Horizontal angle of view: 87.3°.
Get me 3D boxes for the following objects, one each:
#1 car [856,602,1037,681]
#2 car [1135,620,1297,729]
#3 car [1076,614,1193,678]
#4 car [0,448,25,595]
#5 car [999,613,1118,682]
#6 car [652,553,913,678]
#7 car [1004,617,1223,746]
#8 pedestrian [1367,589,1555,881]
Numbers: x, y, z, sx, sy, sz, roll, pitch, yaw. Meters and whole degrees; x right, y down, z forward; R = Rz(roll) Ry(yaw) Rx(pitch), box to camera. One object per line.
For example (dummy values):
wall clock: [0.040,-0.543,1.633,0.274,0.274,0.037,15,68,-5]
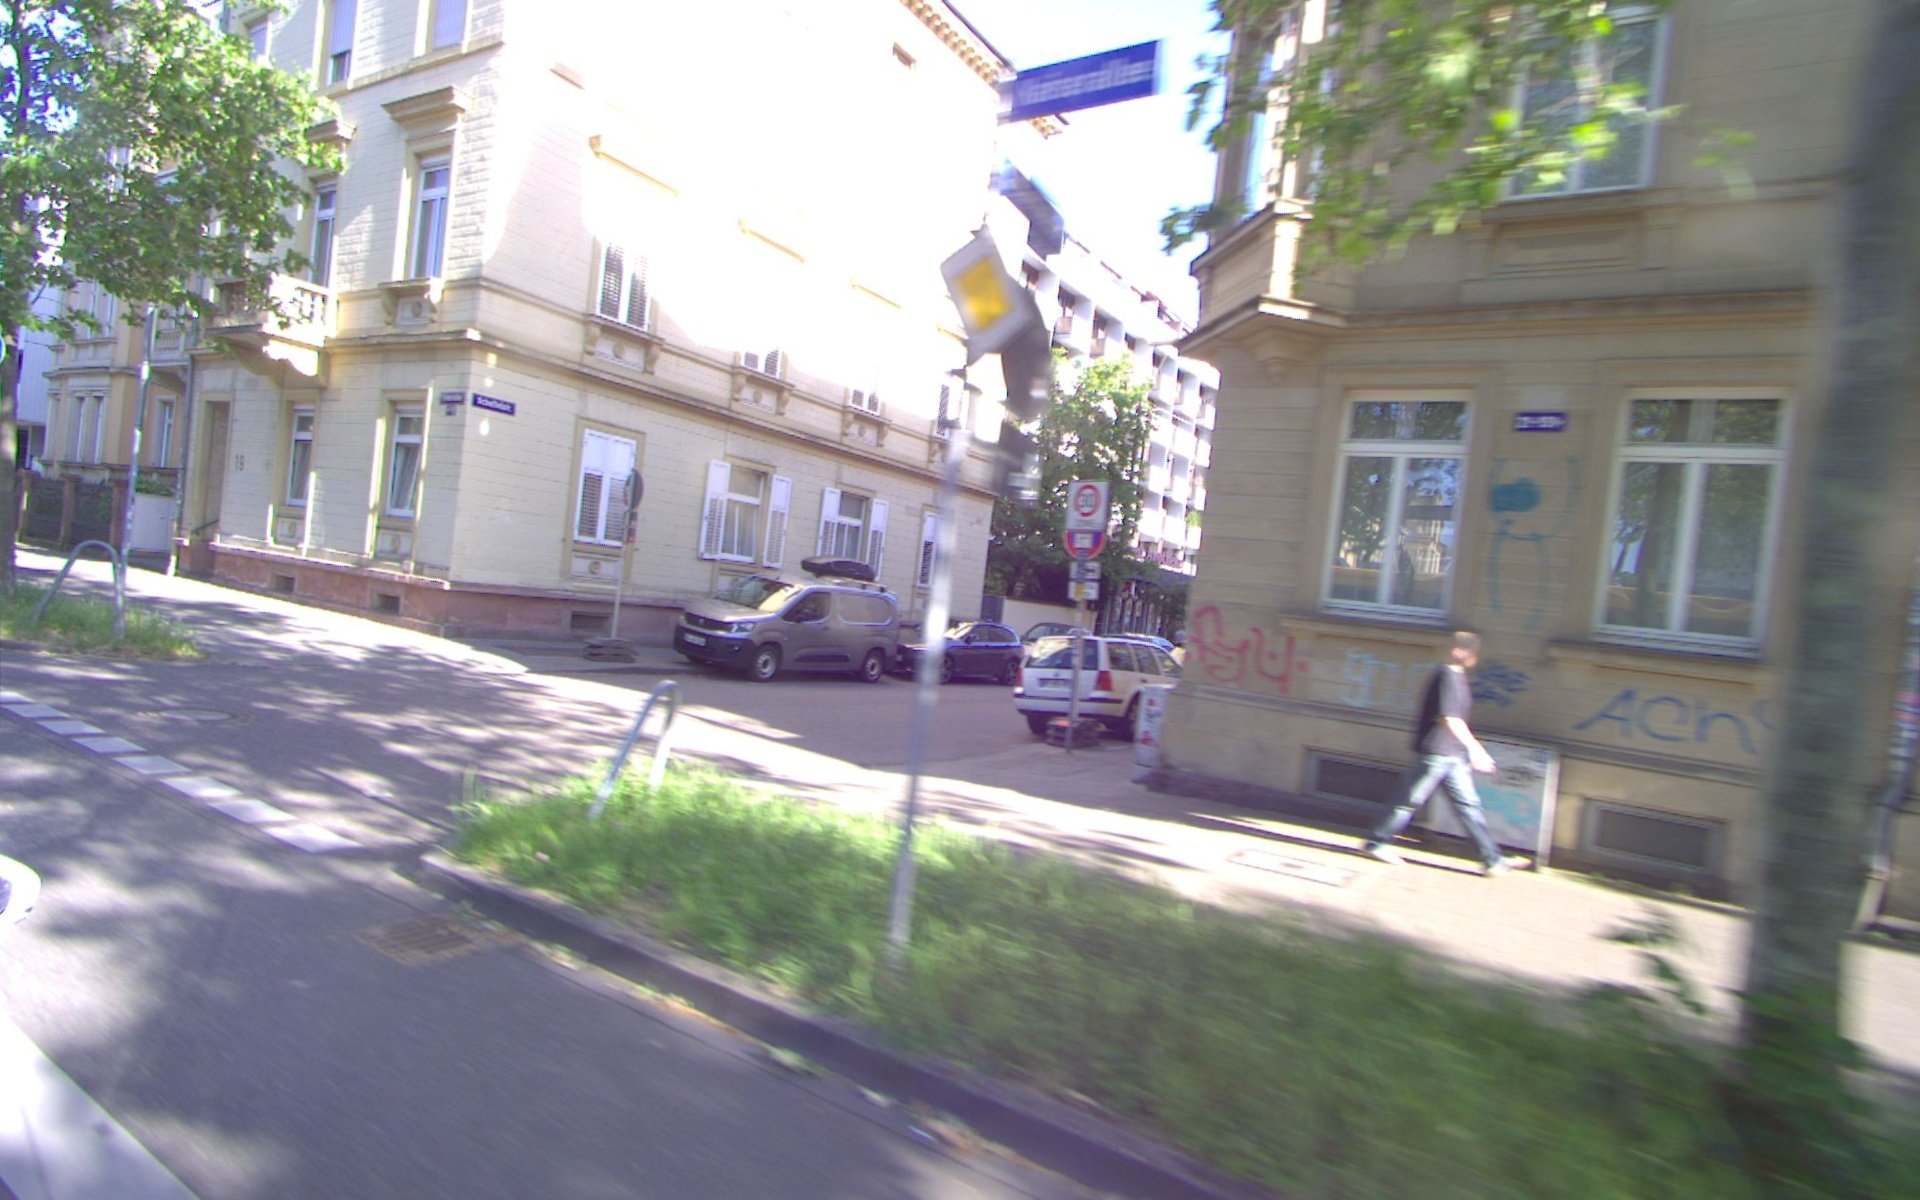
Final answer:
car: [-0.190,0.999,22.809,1.817,1.363,4.372,7,-1,35]
car: [5.027,1.481,19.370,1.640,1.697,3.992,7,-1,33]
car: [5.450,1.460,30.915,1.719,1.576,4.383,7,0,35]
car: [-15.435,-1.362,14.383,4.659,1.989,1.756,7,0,32]
car: [2.671,1.291,26.728,1.576,1.525,3.307,7,0,35]
car: [-3.083,0.362,18.444,1.891,1.794,4.584,7,0,35]
car: [2.477,1.211,15.378,1.622,1.523,4.060,7,1,33]
pedestrian: [3.534,0.914,7.122,0.943,1.848,0.565,8,0,29]
